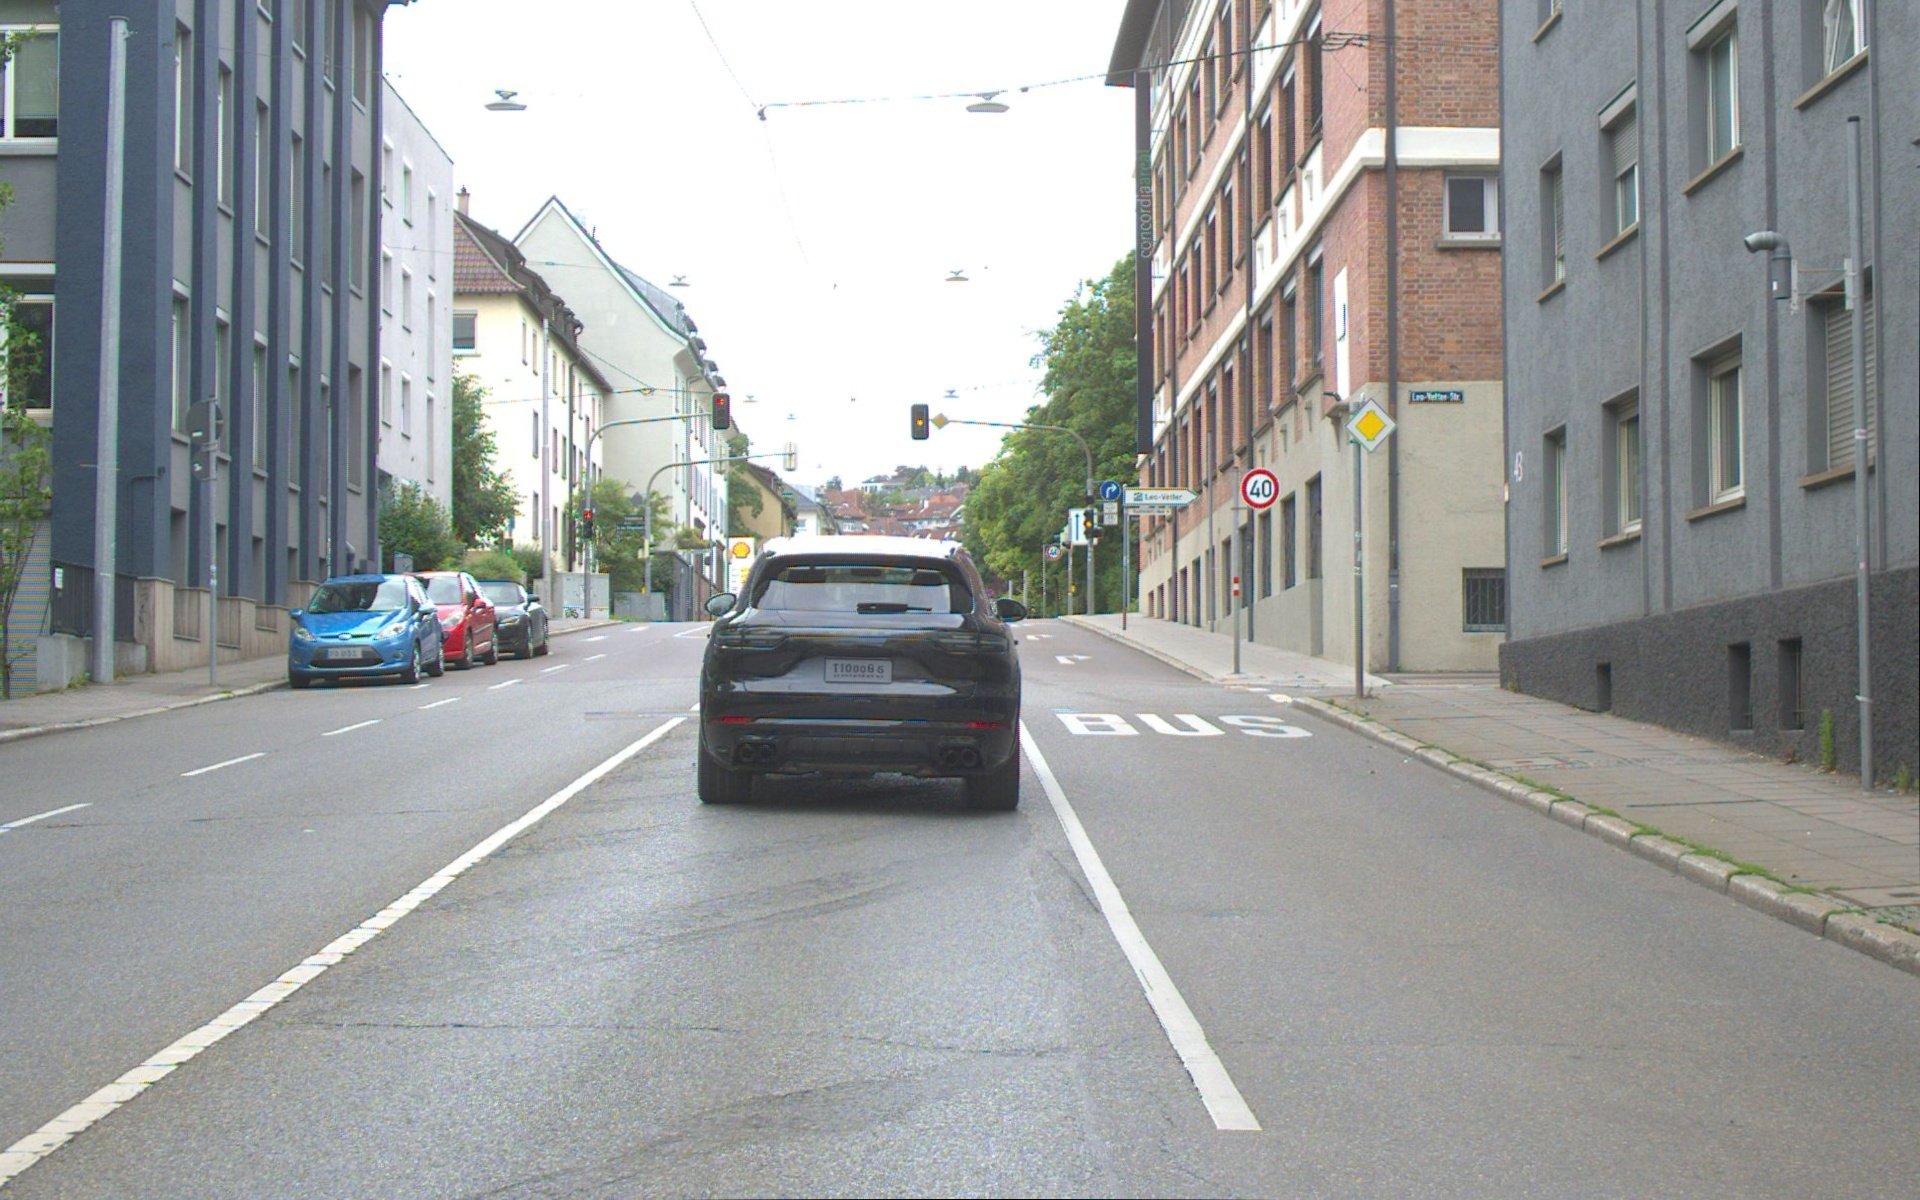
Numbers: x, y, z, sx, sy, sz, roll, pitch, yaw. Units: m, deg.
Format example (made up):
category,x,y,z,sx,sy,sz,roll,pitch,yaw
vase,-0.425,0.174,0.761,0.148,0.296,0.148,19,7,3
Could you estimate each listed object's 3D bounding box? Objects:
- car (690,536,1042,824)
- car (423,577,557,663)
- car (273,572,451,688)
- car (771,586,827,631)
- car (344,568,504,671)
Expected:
category,x,y,z,sx,sy,sz,roll,pitch,yaw
car,-0.716,0.459,22.355,2.023,1.636,4.356,2,0,-4
car,-7.872,0.309,57.901,1.714,1.336,3.904,-2,0,-1
car,-8.046,0.372,46.549,1.714,1.419,3.989,-2,1,-1
car,-6.388,0.333,137.029,1.897,1.686,4.000,-2,0,1
car,-8.118,0.271,52.379,1.714,1.451,3.989,-2,0,1
